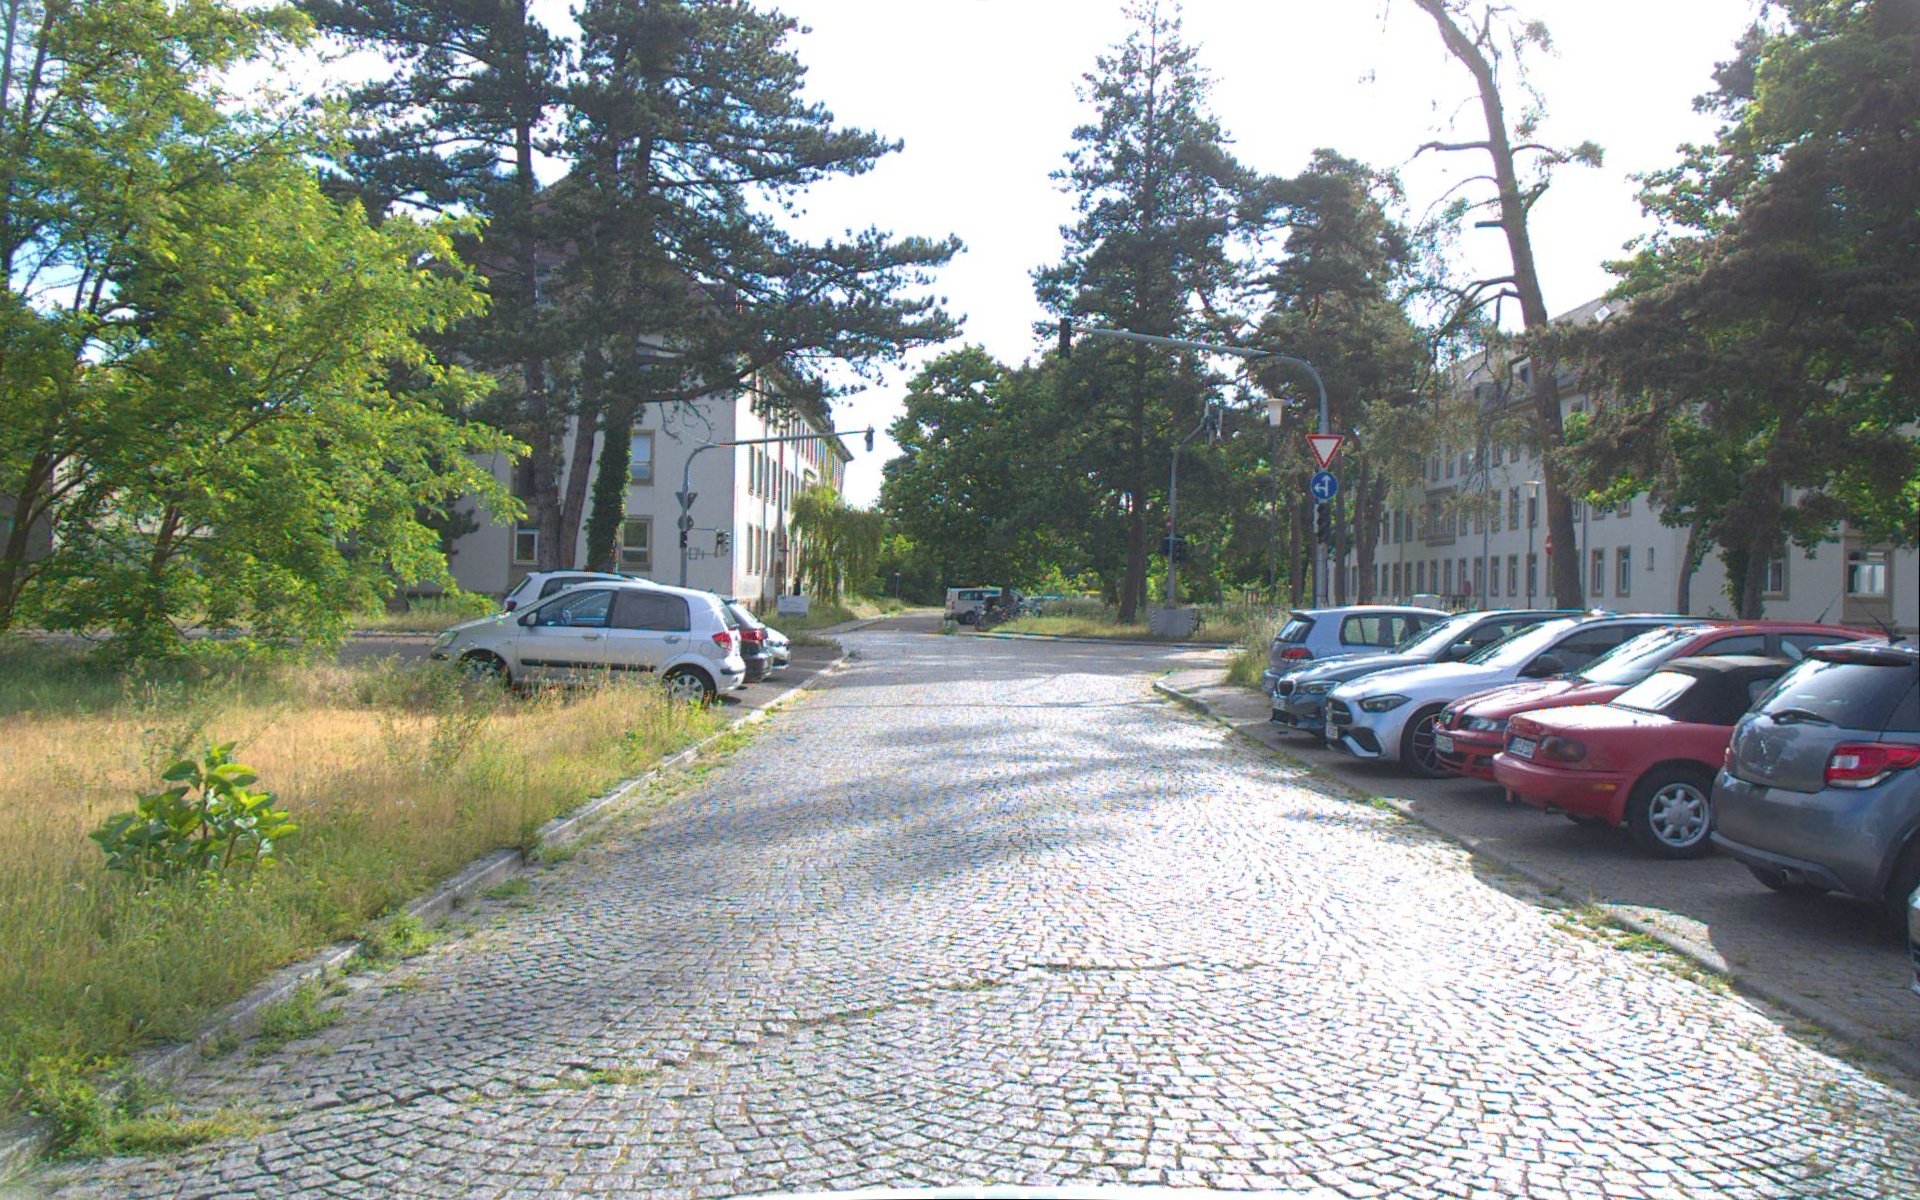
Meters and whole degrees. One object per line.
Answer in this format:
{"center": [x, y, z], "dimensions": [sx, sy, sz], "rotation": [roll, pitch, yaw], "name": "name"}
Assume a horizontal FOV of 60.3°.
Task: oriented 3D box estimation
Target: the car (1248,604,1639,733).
{"center": [6.118, 0.851, 21.264], "dimensions": [4.452, 1.532, 1.932], "rotation": [1, -1, -2], "name": "car"}

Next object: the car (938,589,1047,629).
{"center": [1.733, 0.500, 88.236], "dimensions": [5.408, 1.949, 2.246], "rotation": [2, -1, -14], "name": "car"}

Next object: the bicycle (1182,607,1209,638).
{"center": [8.288, 0.795, 58.197], "dimensions": [0.551, 1.016, 1.750], "rotation": [1, 1, -4], "name": "bicycle"}

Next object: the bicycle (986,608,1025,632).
{"center": [2.086, 0.910, 75.562], "dimensions": [1.756, 1.016, 0.644], "rotation": [1, 1, -2], "name": "bicycle"}

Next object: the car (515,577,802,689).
{"center": [-5.039, 0.529, 28.150], "dimensions": [4.496, 1.480, 1.902], "rotation": [4, 1, -3], "name": "car"}

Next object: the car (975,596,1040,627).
{"center": [2.412, 0.616, 84.677], "dimensions": [2.980, 1.491, 1.714], "rotation": [2, -1, -13], "name": "car"}

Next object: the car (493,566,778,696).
{"center": [-4.932, 0.472, 25.609], "dimensions": [4.042, 1.627, 1.857], "rotation": [4, -1, -5], "name": "car"}

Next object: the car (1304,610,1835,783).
{"center": [5.701, 0.881, 15.855], "dimensions": [4.415, 1.499, 1.849], "rotation": [1, -1, -1], "name": "car"}

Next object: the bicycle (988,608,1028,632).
{"center": [2.130, 0.893, 73.323], "dimensions": [1.756, 1.016, 0.644], "rotation": [1, 1, -2], "name": "bicycle"}

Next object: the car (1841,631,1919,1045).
{"center": [5.420, 0.887, 5.642], "dimensions": [3.870, 1.493, 1.830], "rotation": [1, -1, 0], "name": "car"}

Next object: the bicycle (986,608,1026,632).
{"center": [2.085, 0.904, 74.824], "dimensions": [1.756, 1.016, 0.644], "rotation": [1, 1, -2], "name": "bicycle"}

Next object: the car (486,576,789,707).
{"center": [-4.377, 0.566, 22.921], "dimensions": [3.752, 1.454, 1.858], "rotation": [4, -1, -1], "name": "car"}

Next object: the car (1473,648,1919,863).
{"center": [5.676, 1.008, 11.206], "dimensions": [3.870, 1.283, 1.726], "rotation": [1, -1, 0], "name": "car"}

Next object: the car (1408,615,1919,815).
{"center": [6.048, 0.898, 13.588], "dimensions": [4.252, 1.499, 1.739], "rotation": [1, -1, -1], "name": "car"}

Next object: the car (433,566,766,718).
{"center": [-4.319, 0.502, 20.267], "dimensions": [3.610, 1.499, 1.849], "rotation": [4, -1, -2], "name": "car"}

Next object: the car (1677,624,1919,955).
{"center": [6.029, 0.914, 8.571], "dimensions": [3.870, 1.521, 1.772], "rotation": [1, -1, 0], "name": "car"}

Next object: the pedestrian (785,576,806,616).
{"center": [-8.398, -0.198, 84.549], "dimensions": [0.965, 1.998, 0.932], "rotation": [2, -1, -1], "name": "pedestrian"}

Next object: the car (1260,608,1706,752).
{"center": [5.791, 0.872, 18.635], "dimensions": [4.418, 1.499, 1.893], "rotation": [1, -1, -5], "name": "car"}

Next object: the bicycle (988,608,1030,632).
{"center": [2.140, 0.882, 72.303], "dimensions": [1.756, 1.016, 0.644], "rotation": [1, 1, -2], "name": "bicycle"}

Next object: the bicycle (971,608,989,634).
{"center": [0.822, 0.847, 68.699], "dimensions": [0.713, 1.016, 1.799], "rotation": [1, 1, 0], "name": "bicycle"}
